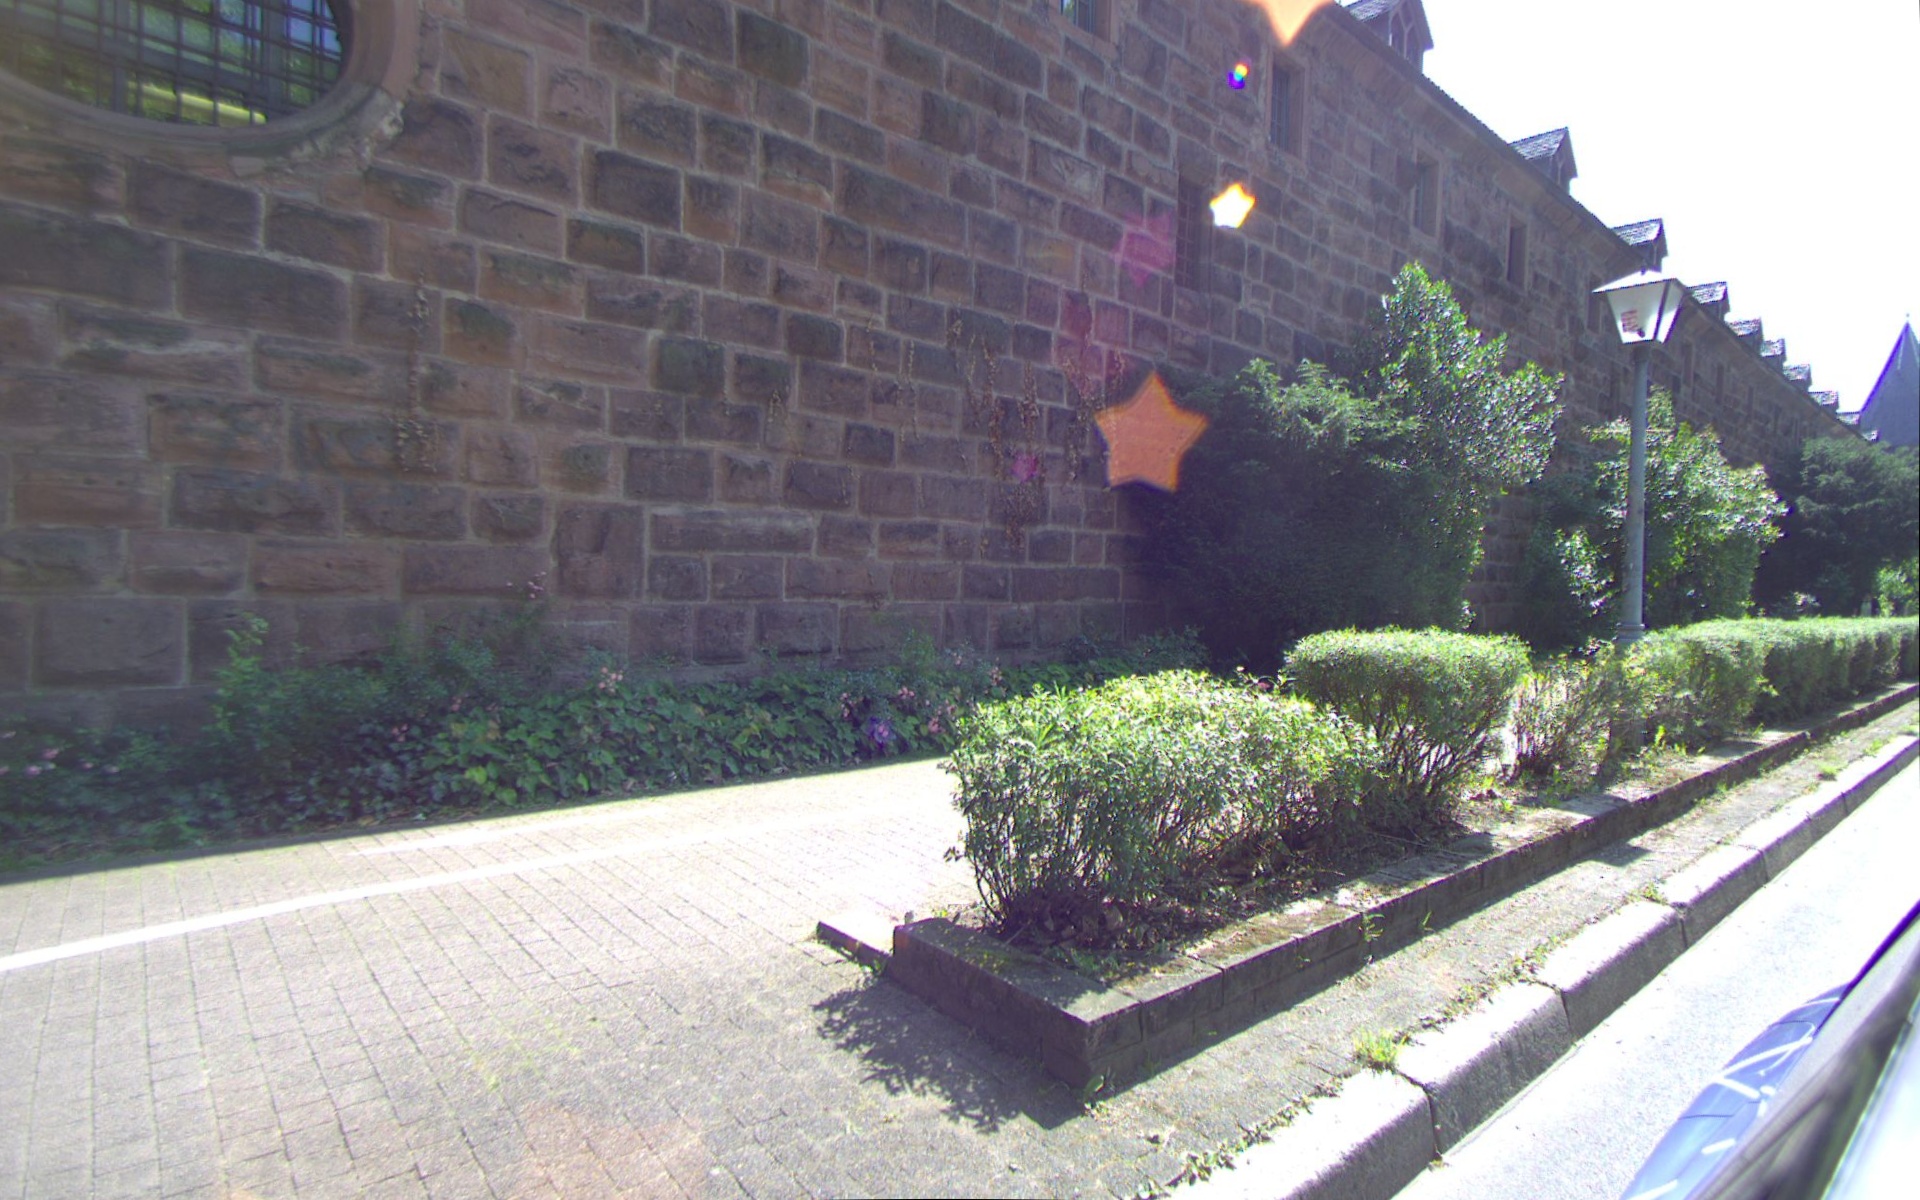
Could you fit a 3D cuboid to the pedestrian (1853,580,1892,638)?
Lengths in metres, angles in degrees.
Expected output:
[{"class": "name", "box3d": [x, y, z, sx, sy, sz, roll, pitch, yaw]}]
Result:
[{"class": "pedestrian", "box3d": [27.481, 0.269, 30.477, 0.692, 1.672, 0.700, 1, 2, -38]}]
